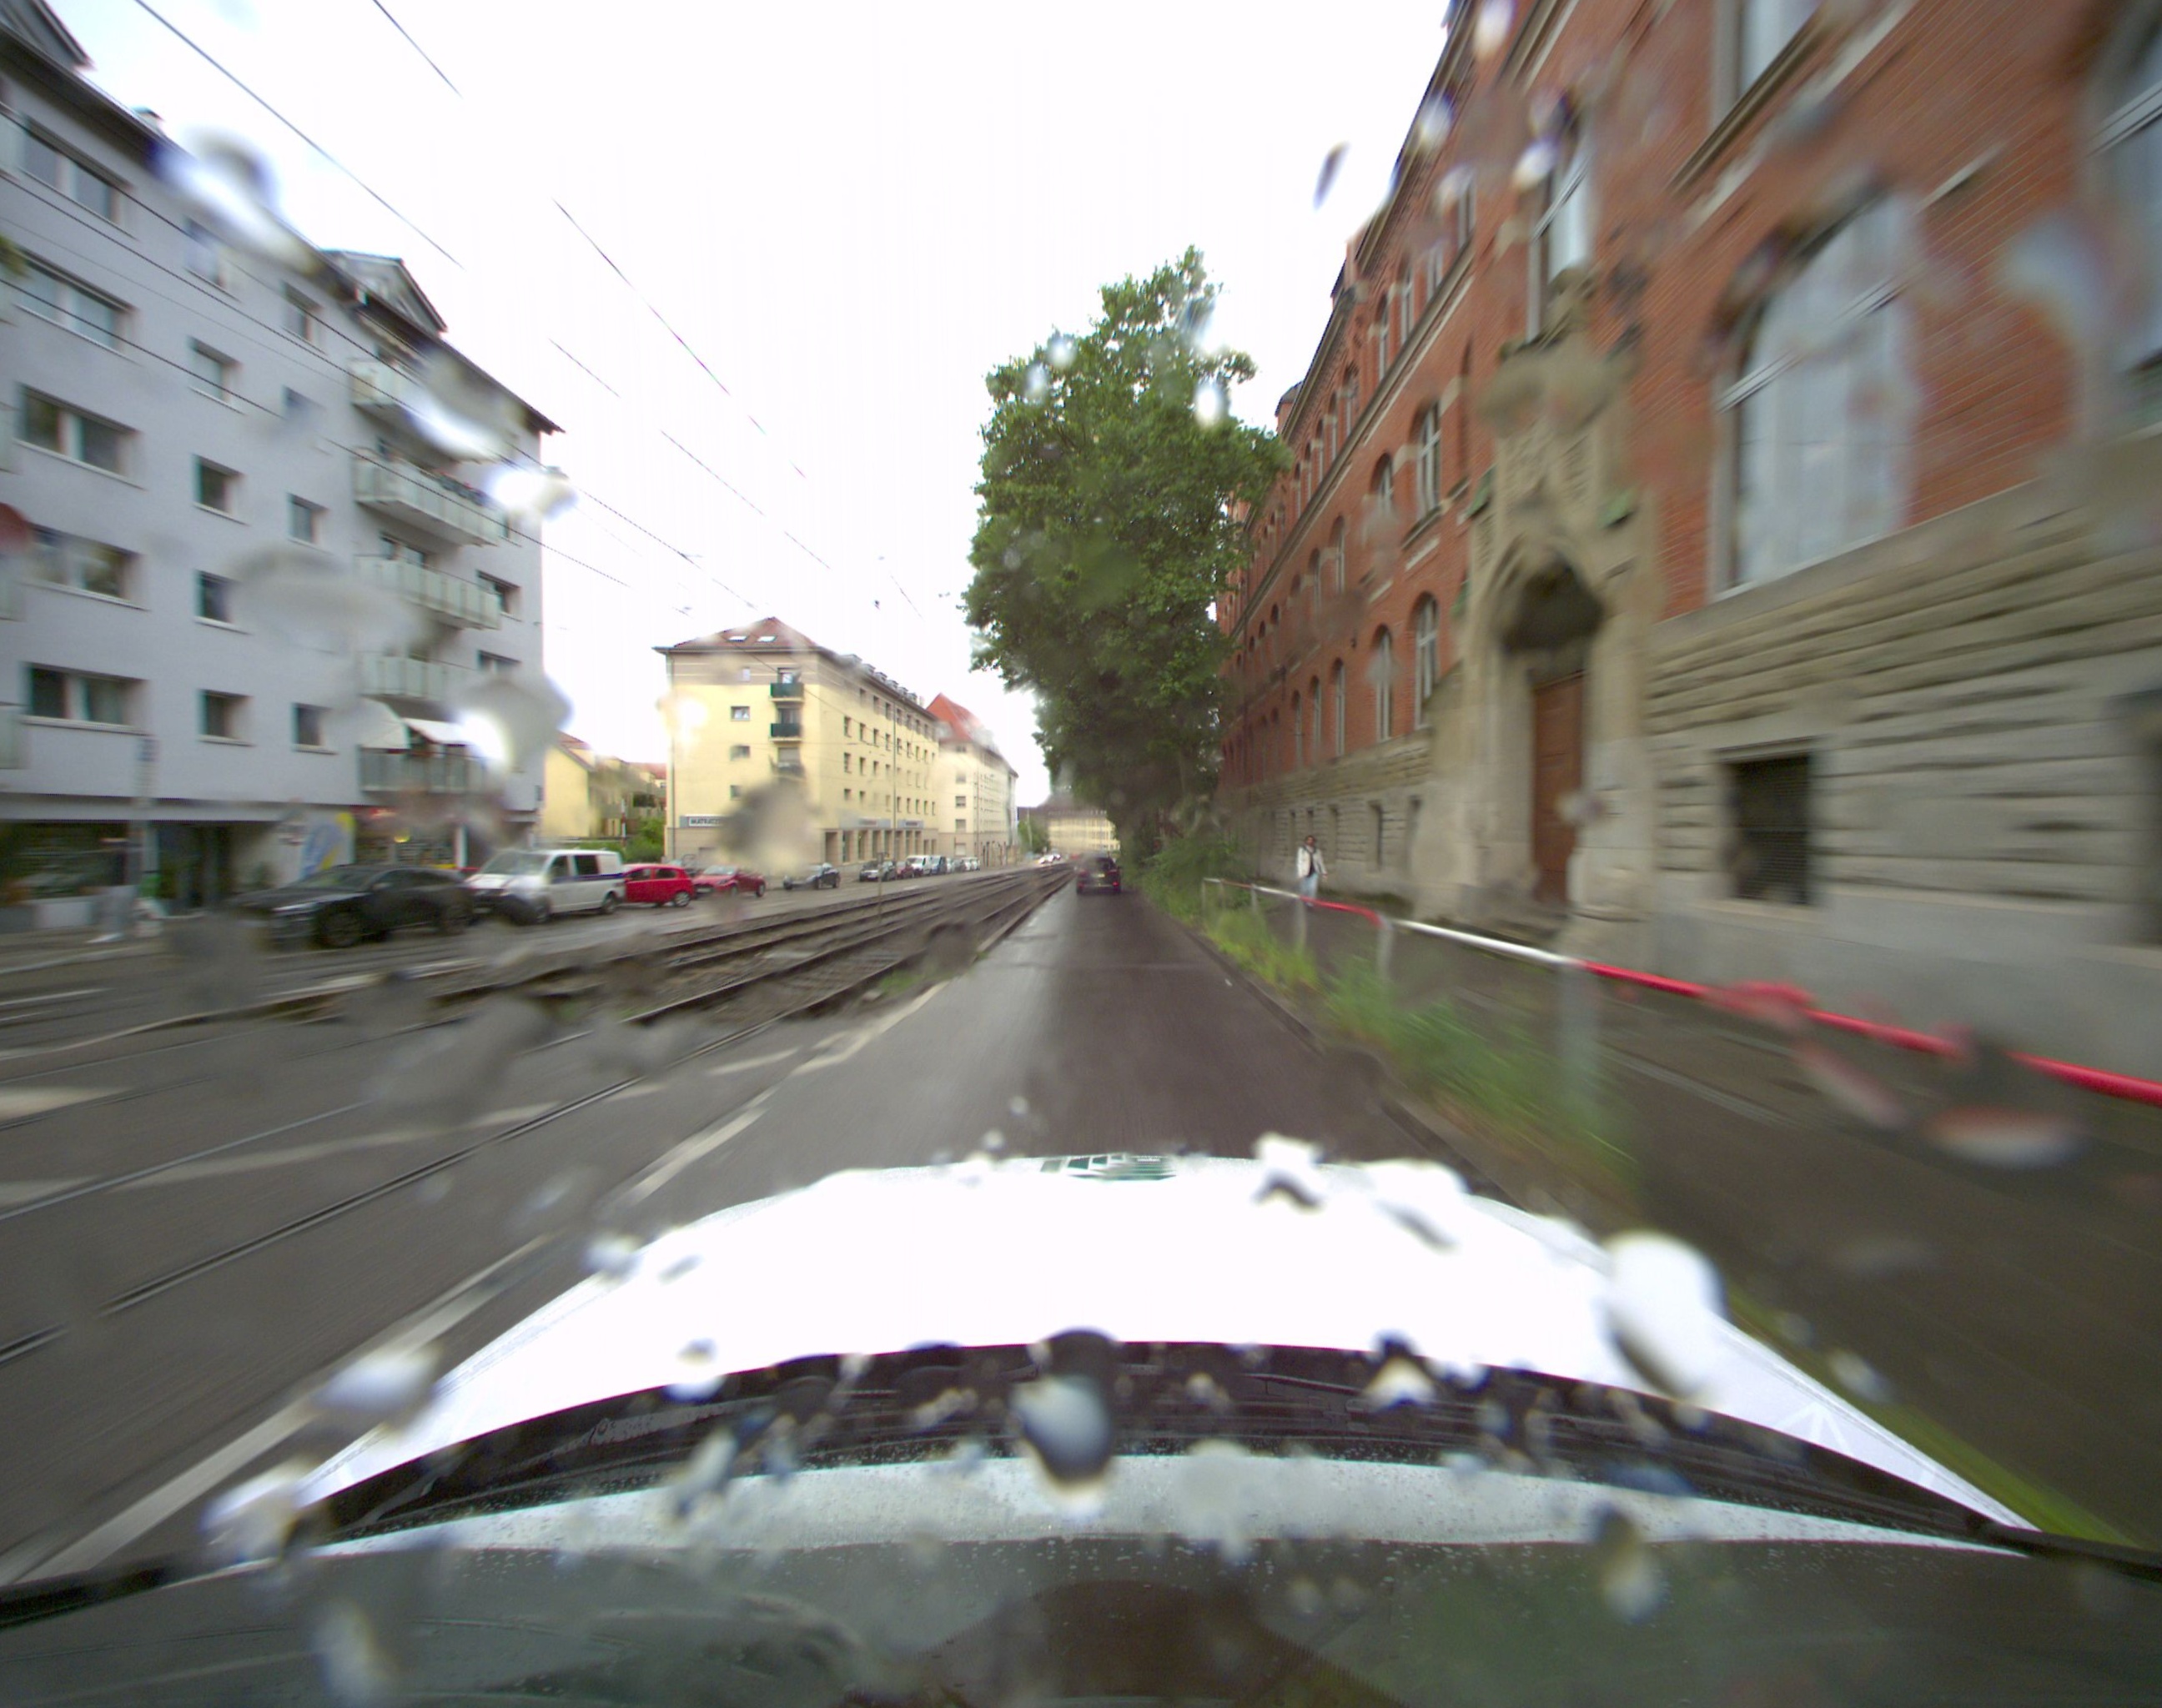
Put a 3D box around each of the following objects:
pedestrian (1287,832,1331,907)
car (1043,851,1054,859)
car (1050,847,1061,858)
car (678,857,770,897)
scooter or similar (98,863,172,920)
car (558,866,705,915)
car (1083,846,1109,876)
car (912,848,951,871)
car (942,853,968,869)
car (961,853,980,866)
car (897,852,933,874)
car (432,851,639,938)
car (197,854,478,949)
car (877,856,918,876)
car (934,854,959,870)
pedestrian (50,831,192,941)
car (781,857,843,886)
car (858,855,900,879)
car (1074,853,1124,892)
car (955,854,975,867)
[{"bbox_3d":[5.217,0.345,18.680,0.819,1.678,0.861,-1,0,4],"label":"pedestrian"},{"bbox_3d":[-6.076,0.208,151.375,1.705,1.462,4.284,-1,1,3],"label":"car"},{"bbox_3d":[-5.531,-0.316,176.515,1.985,2.451,6.002,-1,0,2],"label":"car"},{"bbox_3d":[-14.545,0.897,33.426,1.645,1.451,4.079,-1,0,5],"label":"car"},{"bbox_3d":[-20.500,0.813,17.656,1.089,1.209,0.315,0,0,-9],"label":"scooter or similar"},{"bbox_3d":[-15.155,1.188,27.656,1.762,1.434,4.008,0,1,36],"label":"car"},{"bbox_3d":[1.037,0.442,56.514,1.735,2.013,3.903,-1,0,0],"label":"car"},{"bbox_3d":[-13.407,0.443,73.406,1.984,1.905,5.468,1,1,5],"label":"car"},{"bbox_3d":[-12.887,0.687,83.465,1.806,1.499,4.585,1,1,2],"label":"car"},{"bbox_3d":[-12.980,0.610,96.131,1.703,1.449,3.541,1,0,0],"label":"car"},{"bbox_3d":[-13.698,0.690,67.530,1.860,1.717,4.463,-1,0,2],"label":"car"},{"bbox_3d":[-15.007,1.001,22.897,2.062,2.009,5.304,2,1,2],"label":"car"},{"bbox_3d":[-15.033,0.861,16.869,1.726,1.651,4.365,0,1,1],"label":"car"},{"bbox_3d":[-13.941,0.885,62.004,1.844,1.432,4.834,1,0,2],"label":"car"},{"bbox_3d":[-12.975,0.762,78.889,1.685,1.439,4.050,0,0,1],"label":"car"},{"bbox_3d":[-17.532,0.553,14.925,1.170,1.929,1.175,0,1,-6],"label":"pedestrian"},{"bbox_3d":[-14.064,0.892,42.895,1.674,1.396,4.623,-1,0,1],"label":"car"},{"bbox_3d":[-13.861,0.833,56.155,1.847,1.508,4.986,-1,0,-3],"label":"car"},{"bbox_3d":[0.699,0.704,33.568,1.927,1.452,4.318,0,0,0],"label":"car"},{"bbox_3d":[-13.012,0.765,91.432,1.699,1.396,3.933,1,0,-2],"label":"car"}]
